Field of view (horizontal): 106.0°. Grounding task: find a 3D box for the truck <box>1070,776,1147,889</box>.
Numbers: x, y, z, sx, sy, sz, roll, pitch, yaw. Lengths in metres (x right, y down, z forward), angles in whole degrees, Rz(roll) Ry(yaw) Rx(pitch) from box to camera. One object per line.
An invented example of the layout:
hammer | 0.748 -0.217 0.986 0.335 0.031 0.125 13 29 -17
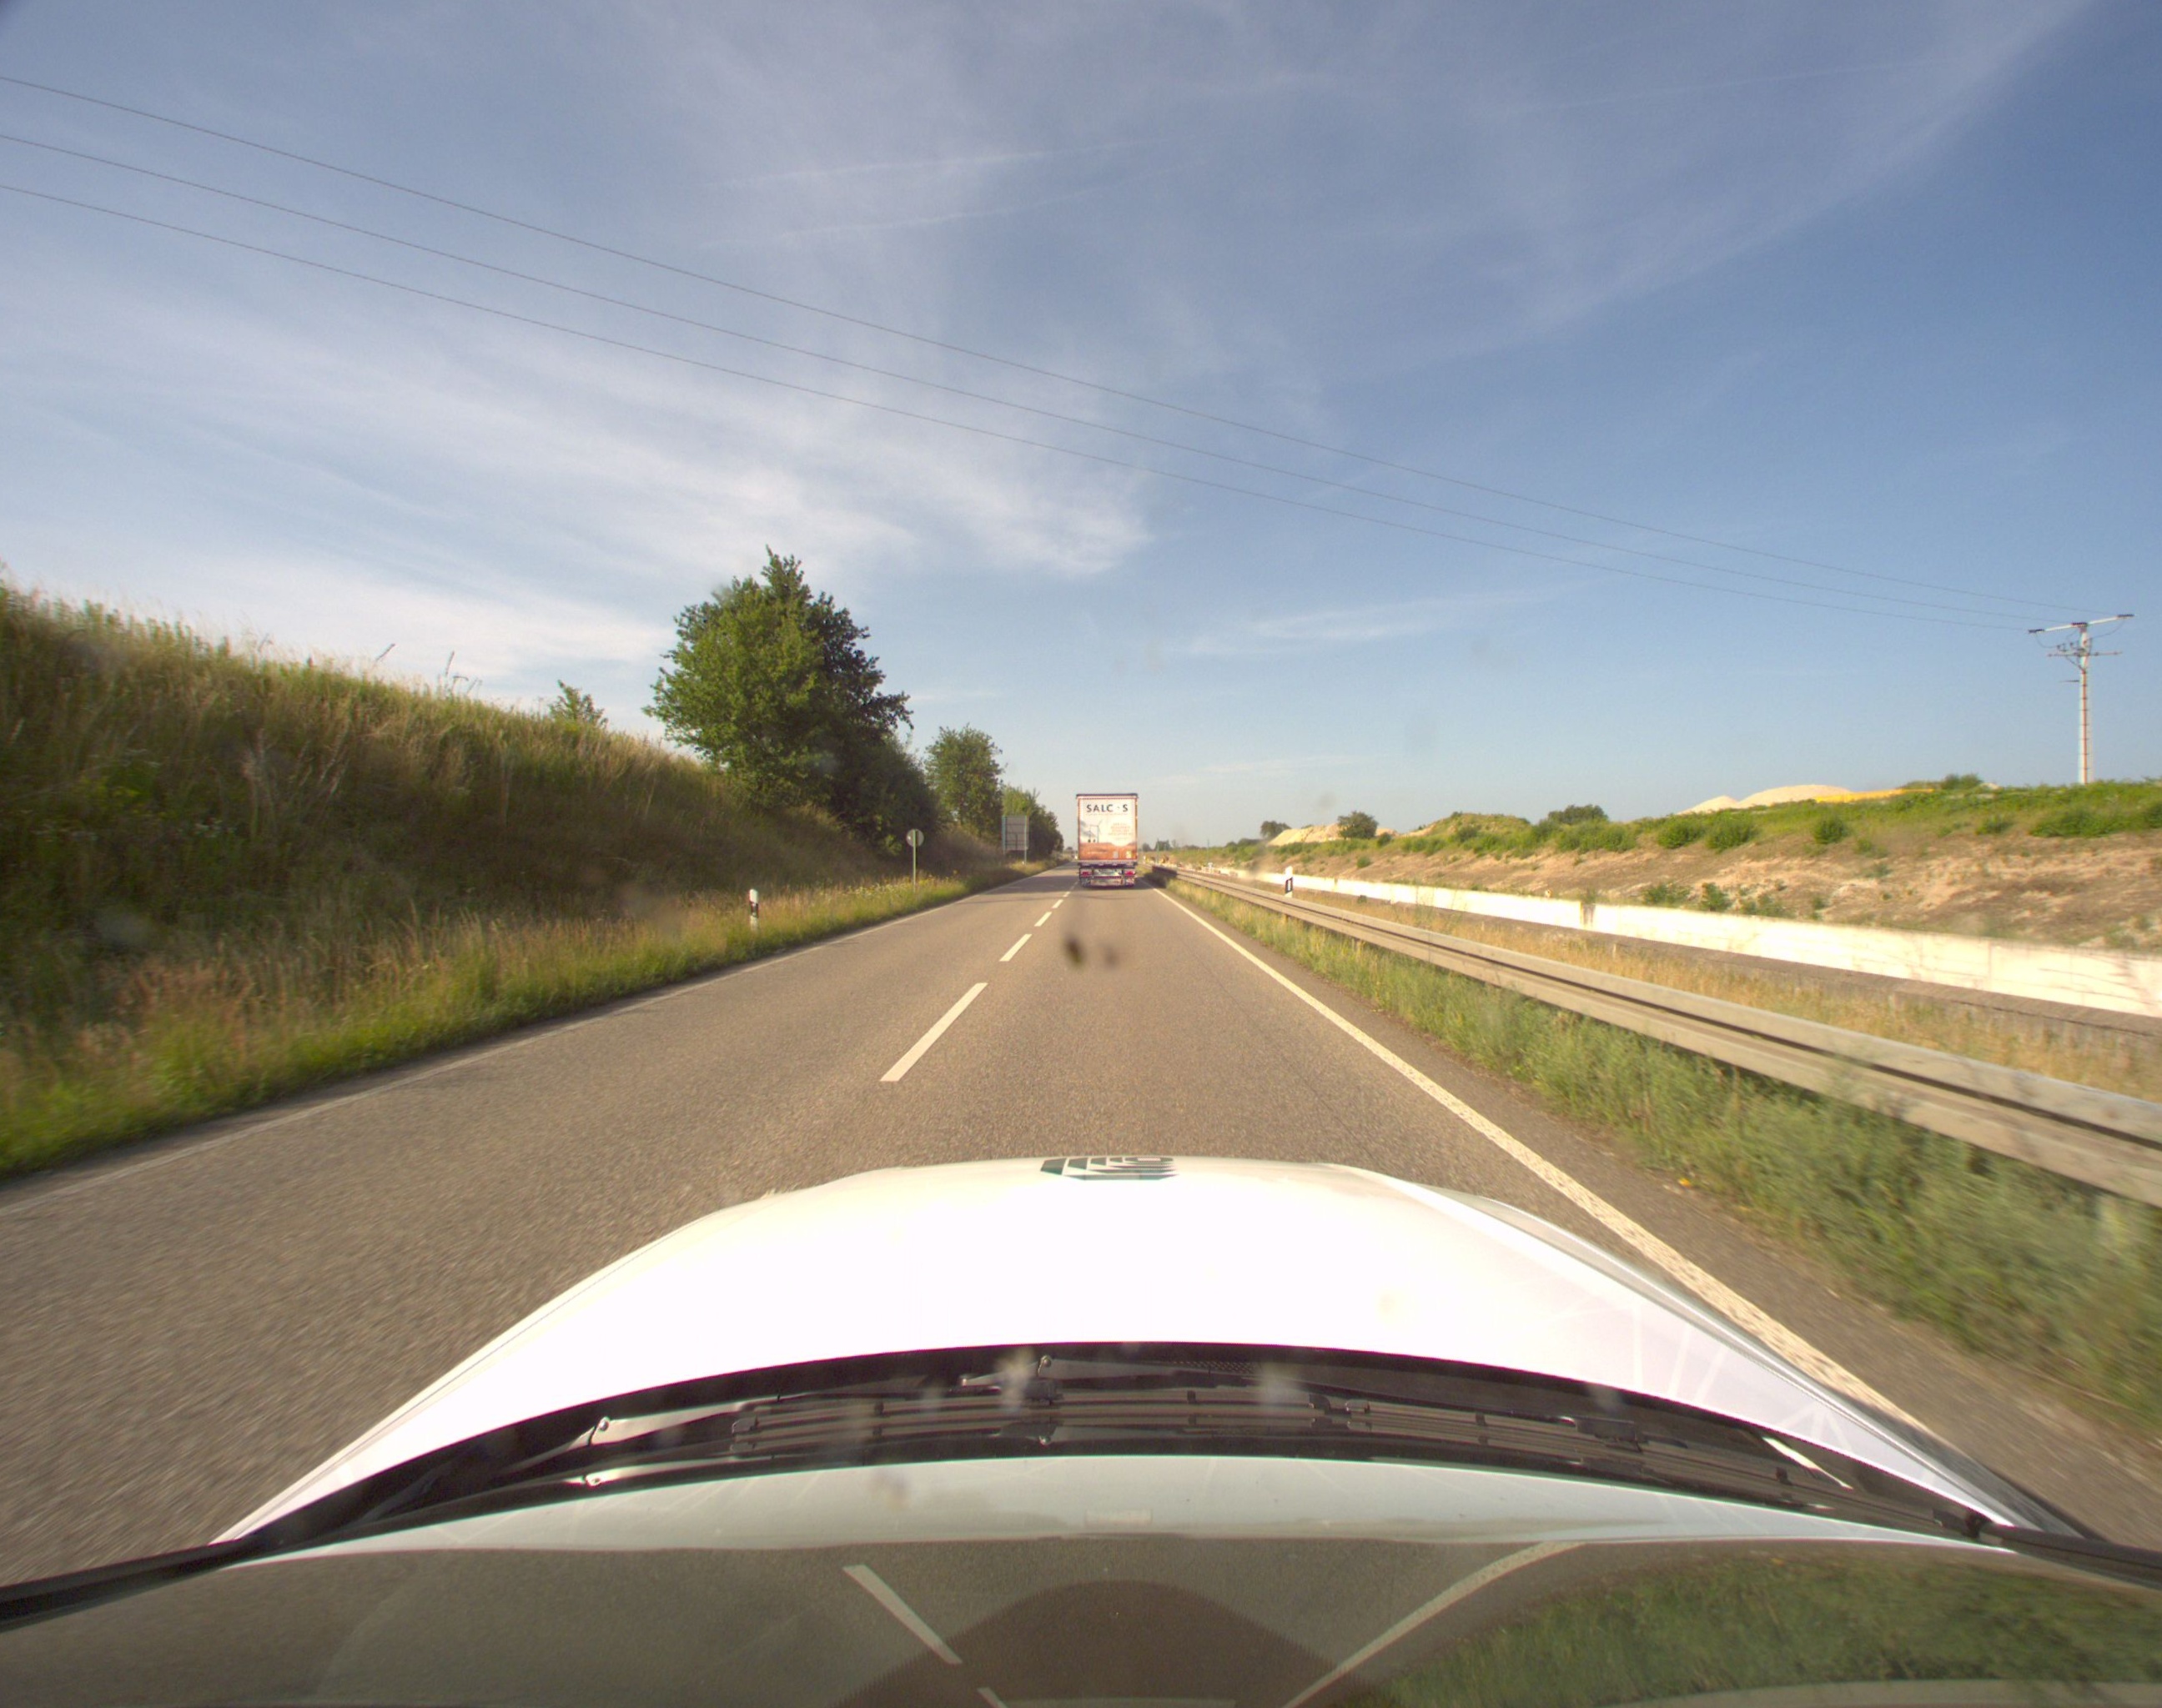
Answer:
truck | 1.197 -0.895 38.385 3.142 4.688 8.441 -1 0 0
